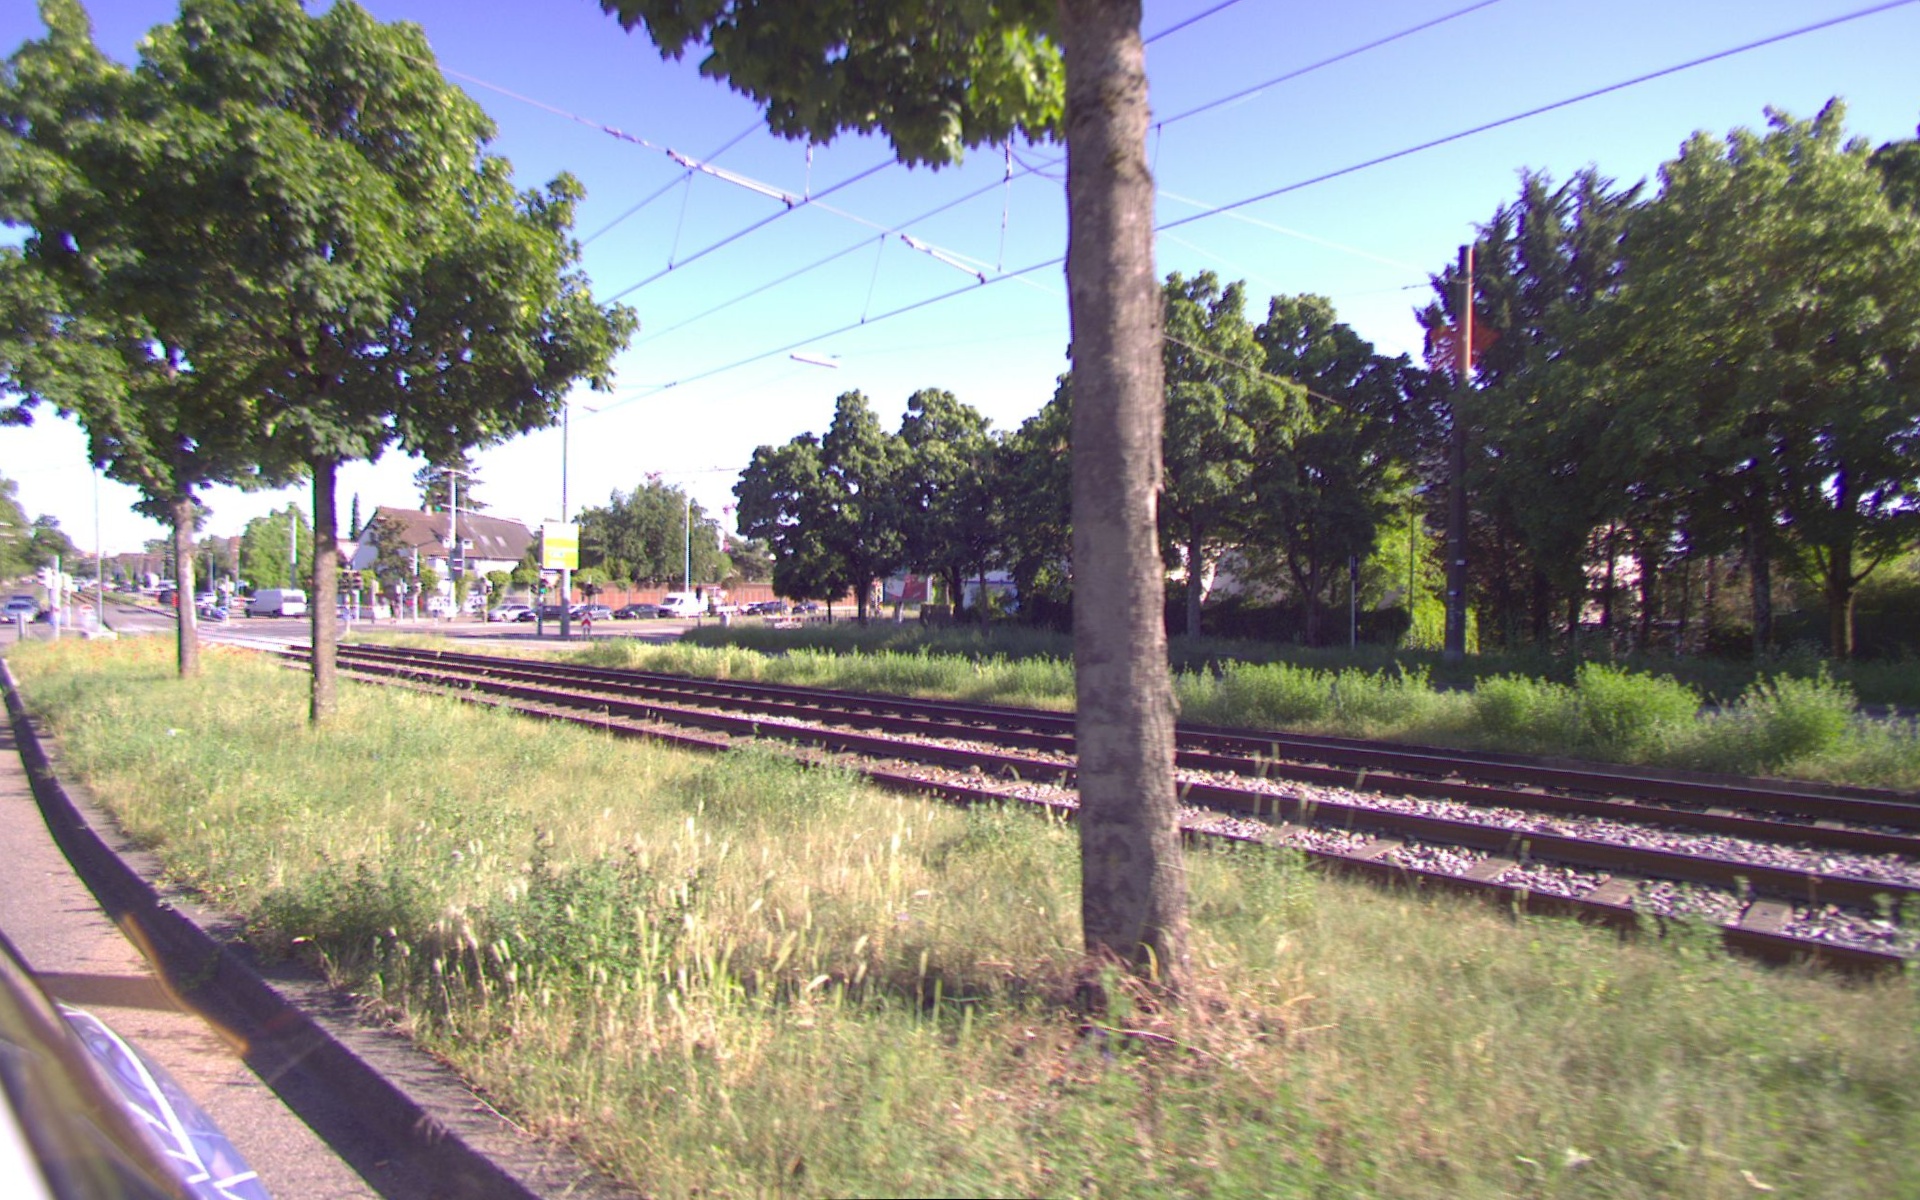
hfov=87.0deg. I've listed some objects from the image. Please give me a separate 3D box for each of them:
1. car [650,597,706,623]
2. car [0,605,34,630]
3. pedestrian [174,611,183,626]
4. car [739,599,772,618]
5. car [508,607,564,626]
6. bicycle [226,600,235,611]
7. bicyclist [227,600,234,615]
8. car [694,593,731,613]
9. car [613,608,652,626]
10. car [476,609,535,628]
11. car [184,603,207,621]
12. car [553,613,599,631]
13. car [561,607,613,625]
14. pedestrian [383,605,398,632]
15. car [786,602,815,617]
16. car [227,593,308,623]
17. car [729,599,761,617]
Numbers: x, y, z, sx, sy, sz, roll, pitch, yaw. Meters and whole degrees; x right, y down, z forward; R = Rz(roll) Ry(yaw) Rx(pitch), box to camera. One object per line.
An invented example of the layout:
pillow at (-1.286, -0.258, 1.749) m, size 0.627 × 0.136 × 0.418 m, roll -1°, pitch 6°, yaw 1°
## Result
car at (-27.284, 0.983, 98.067) m, size 2.166 × 2.429 × 5.879 m, roll 1°, pitch 0°, yaw 22°
car at (-63.647, 1.161, 68.094) m, size 1.855 × 1.539 × 4.425 m, roll 1°, pitch 0°, yaw -43°
pedestrian at (-72.808, 1.735, 94.258) m, size 0.614 × 1.425 × 0.712 m, roll 1°, pitch -1°, yaw -44°
car at (-22.512, 0.941, 111.502) m, size 1.794 × 2.029 × 3.976 m, roll 1°, pitch 0°, yaw 18°
car at (-34.169, 1.304, 81.668) m, size 1.923 × 1.477 × 4.221 m, roll 0°, pitch 0°, yaw 20°
bicycle at (-75.975, 0.584, 105.440) m, size 0.501 × 1.050 × 1.951 m, roll 1°, pitch 0°, yaw -43°
bicyclist at (-76.037, 0.776, 105.504) m, size 0.483 × 1.620 × 0.649 m, roll 1°, pitch 0°, yaw -43°
car at (-25.384, 0.293, 103.779) m, size 1.794 × 2.029 × 3.975 m, roll 1°, pitch 0°, yaw 19°
car at (-29.655, 1.497, 91.760) m, size 1.487 × 1.579 × 3.502 m, roll 0°, pitch 0°, yaw 22°
car at (-37.086, 1.452, 82.660) m, size 1.660 × 1.488 × 4.606 m, roll 1°, pitch 0°, yaw 19°
car at (-76.189, 1.189, 100.860) m, size 1.768 × 1.700 × 4.010 m, roll 1°, pitch 0°, yaw -38°
car at (-34.209, 1.941, 90.241) m, size 1.660 × 1.488 × 3.974 m, roll 1°, pitch 0°, yaw 20°
car at (-31.937, 1.379, 86.734) m, size 1.923 × 1.477 × 4.231 m, roll -1°, pitch 0°, yaw 20°
pedestrian at (-42.699, 1.391, 75.939) m, size 0.766 × 1.963 × 0.611 m, roll 0°, pitch 0°, yaw 4°
car at (-18.744, 1.092, 119.222) m, size 1.794 × 1.755 × 3.976 m, roll 0°, pitch -1°, yaw 18°
car at (-59.630, 0.682, 87.104) m, size 6.823 × 2.476 × 2.332 m, roll 1°, pitch 0°, yaw 22°
car at (-24.454, 0.904, 115.349) m, size 1.794 × 2.029 × 3.976 m, roll 1°, pitch 0°, yaw 18°
